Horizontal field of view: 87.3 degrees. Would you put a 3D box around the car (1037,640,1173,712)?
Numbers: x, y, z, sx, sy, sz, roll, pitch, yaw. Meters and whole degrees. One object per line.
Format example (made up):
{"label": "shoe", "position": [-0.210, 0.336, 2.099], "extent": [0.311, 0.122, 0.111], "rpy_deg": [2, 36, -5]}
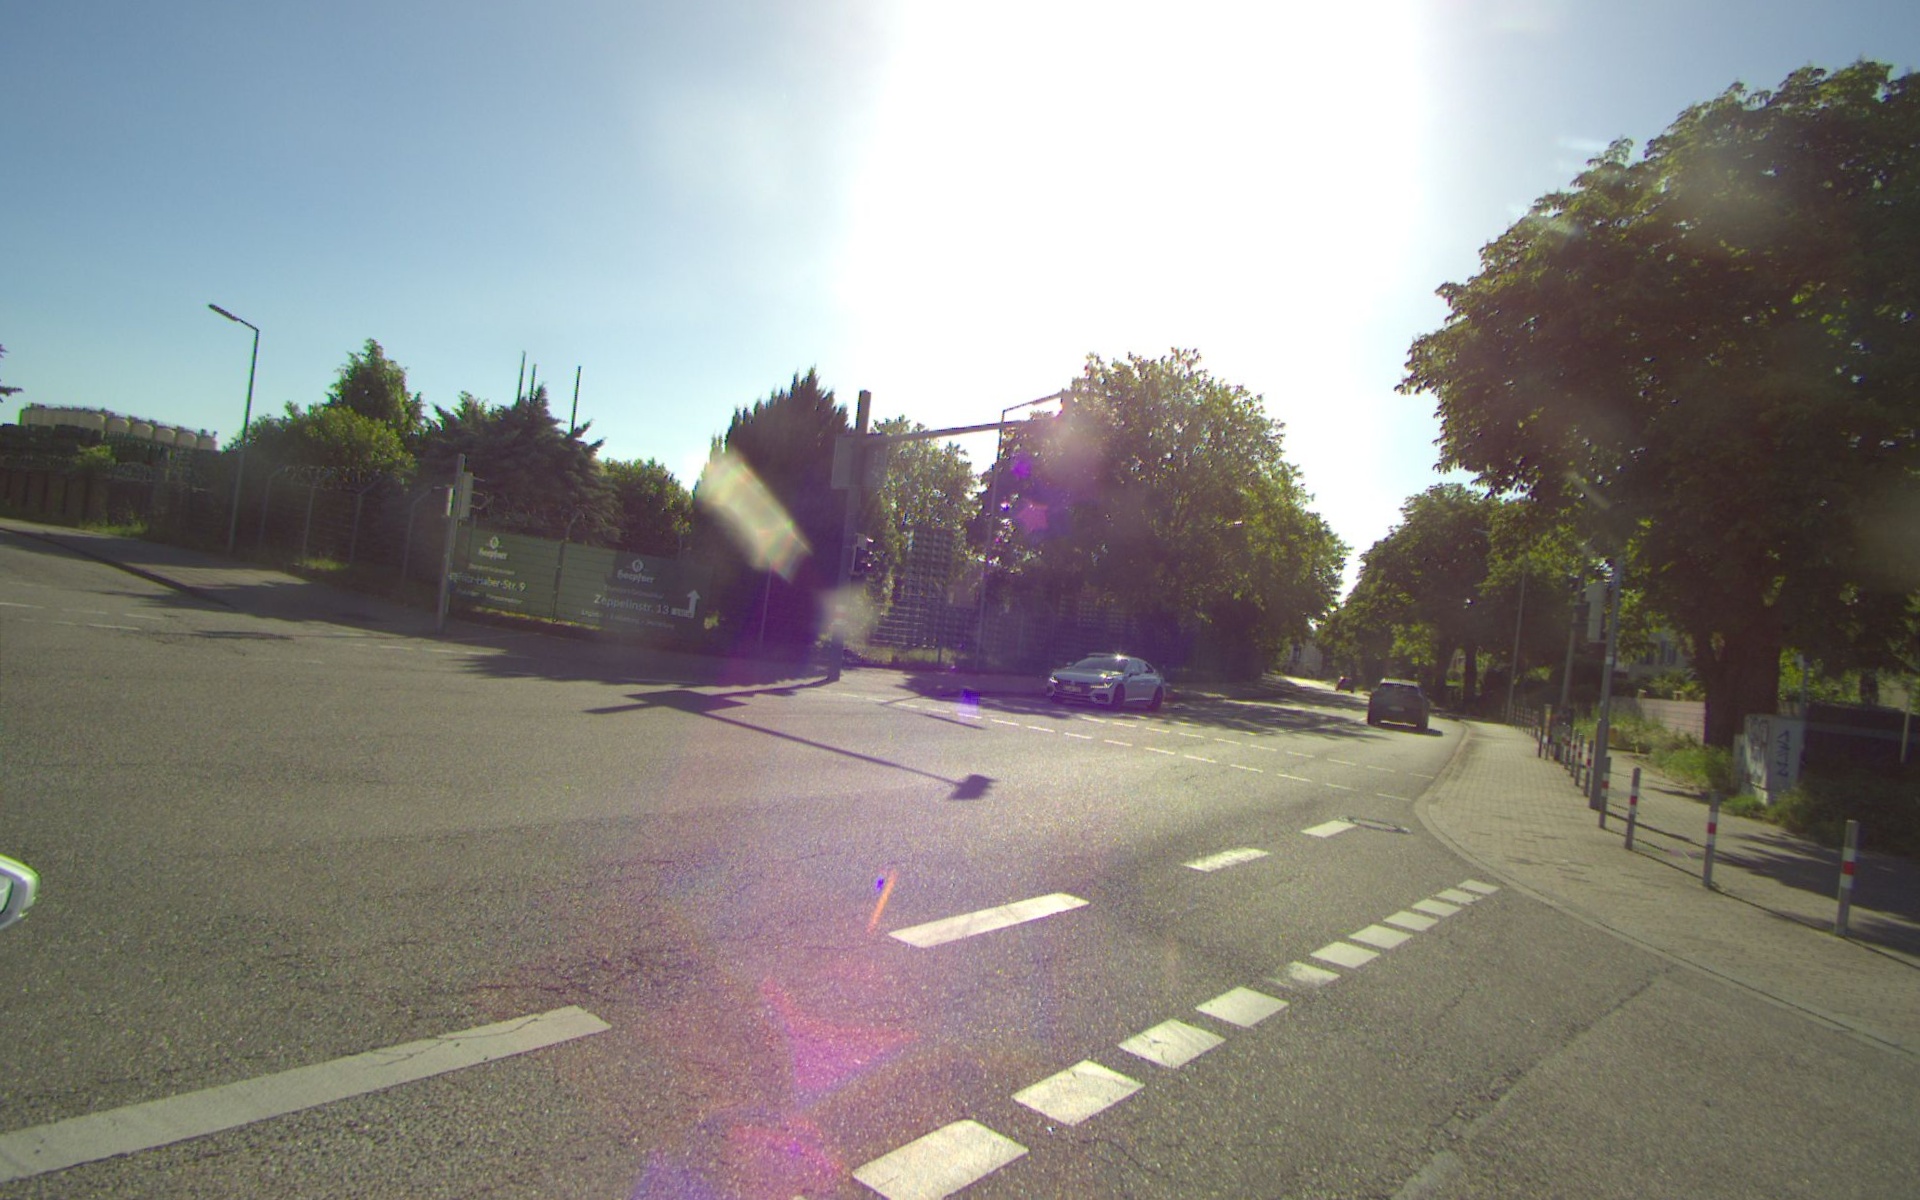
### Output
{"label": "car", "position": [3.915, 2.036, 26.475], "extent": [1.781, 1.550, 4.507], "rpy_deg": [6, -2, 32]}

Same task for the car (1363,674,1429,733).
{"label": "car", "position": [15.174, 3.573, 35.024], "extent": [1.829, 1.654, 4.257], "rpy_deg": [7, -2, 24]}
